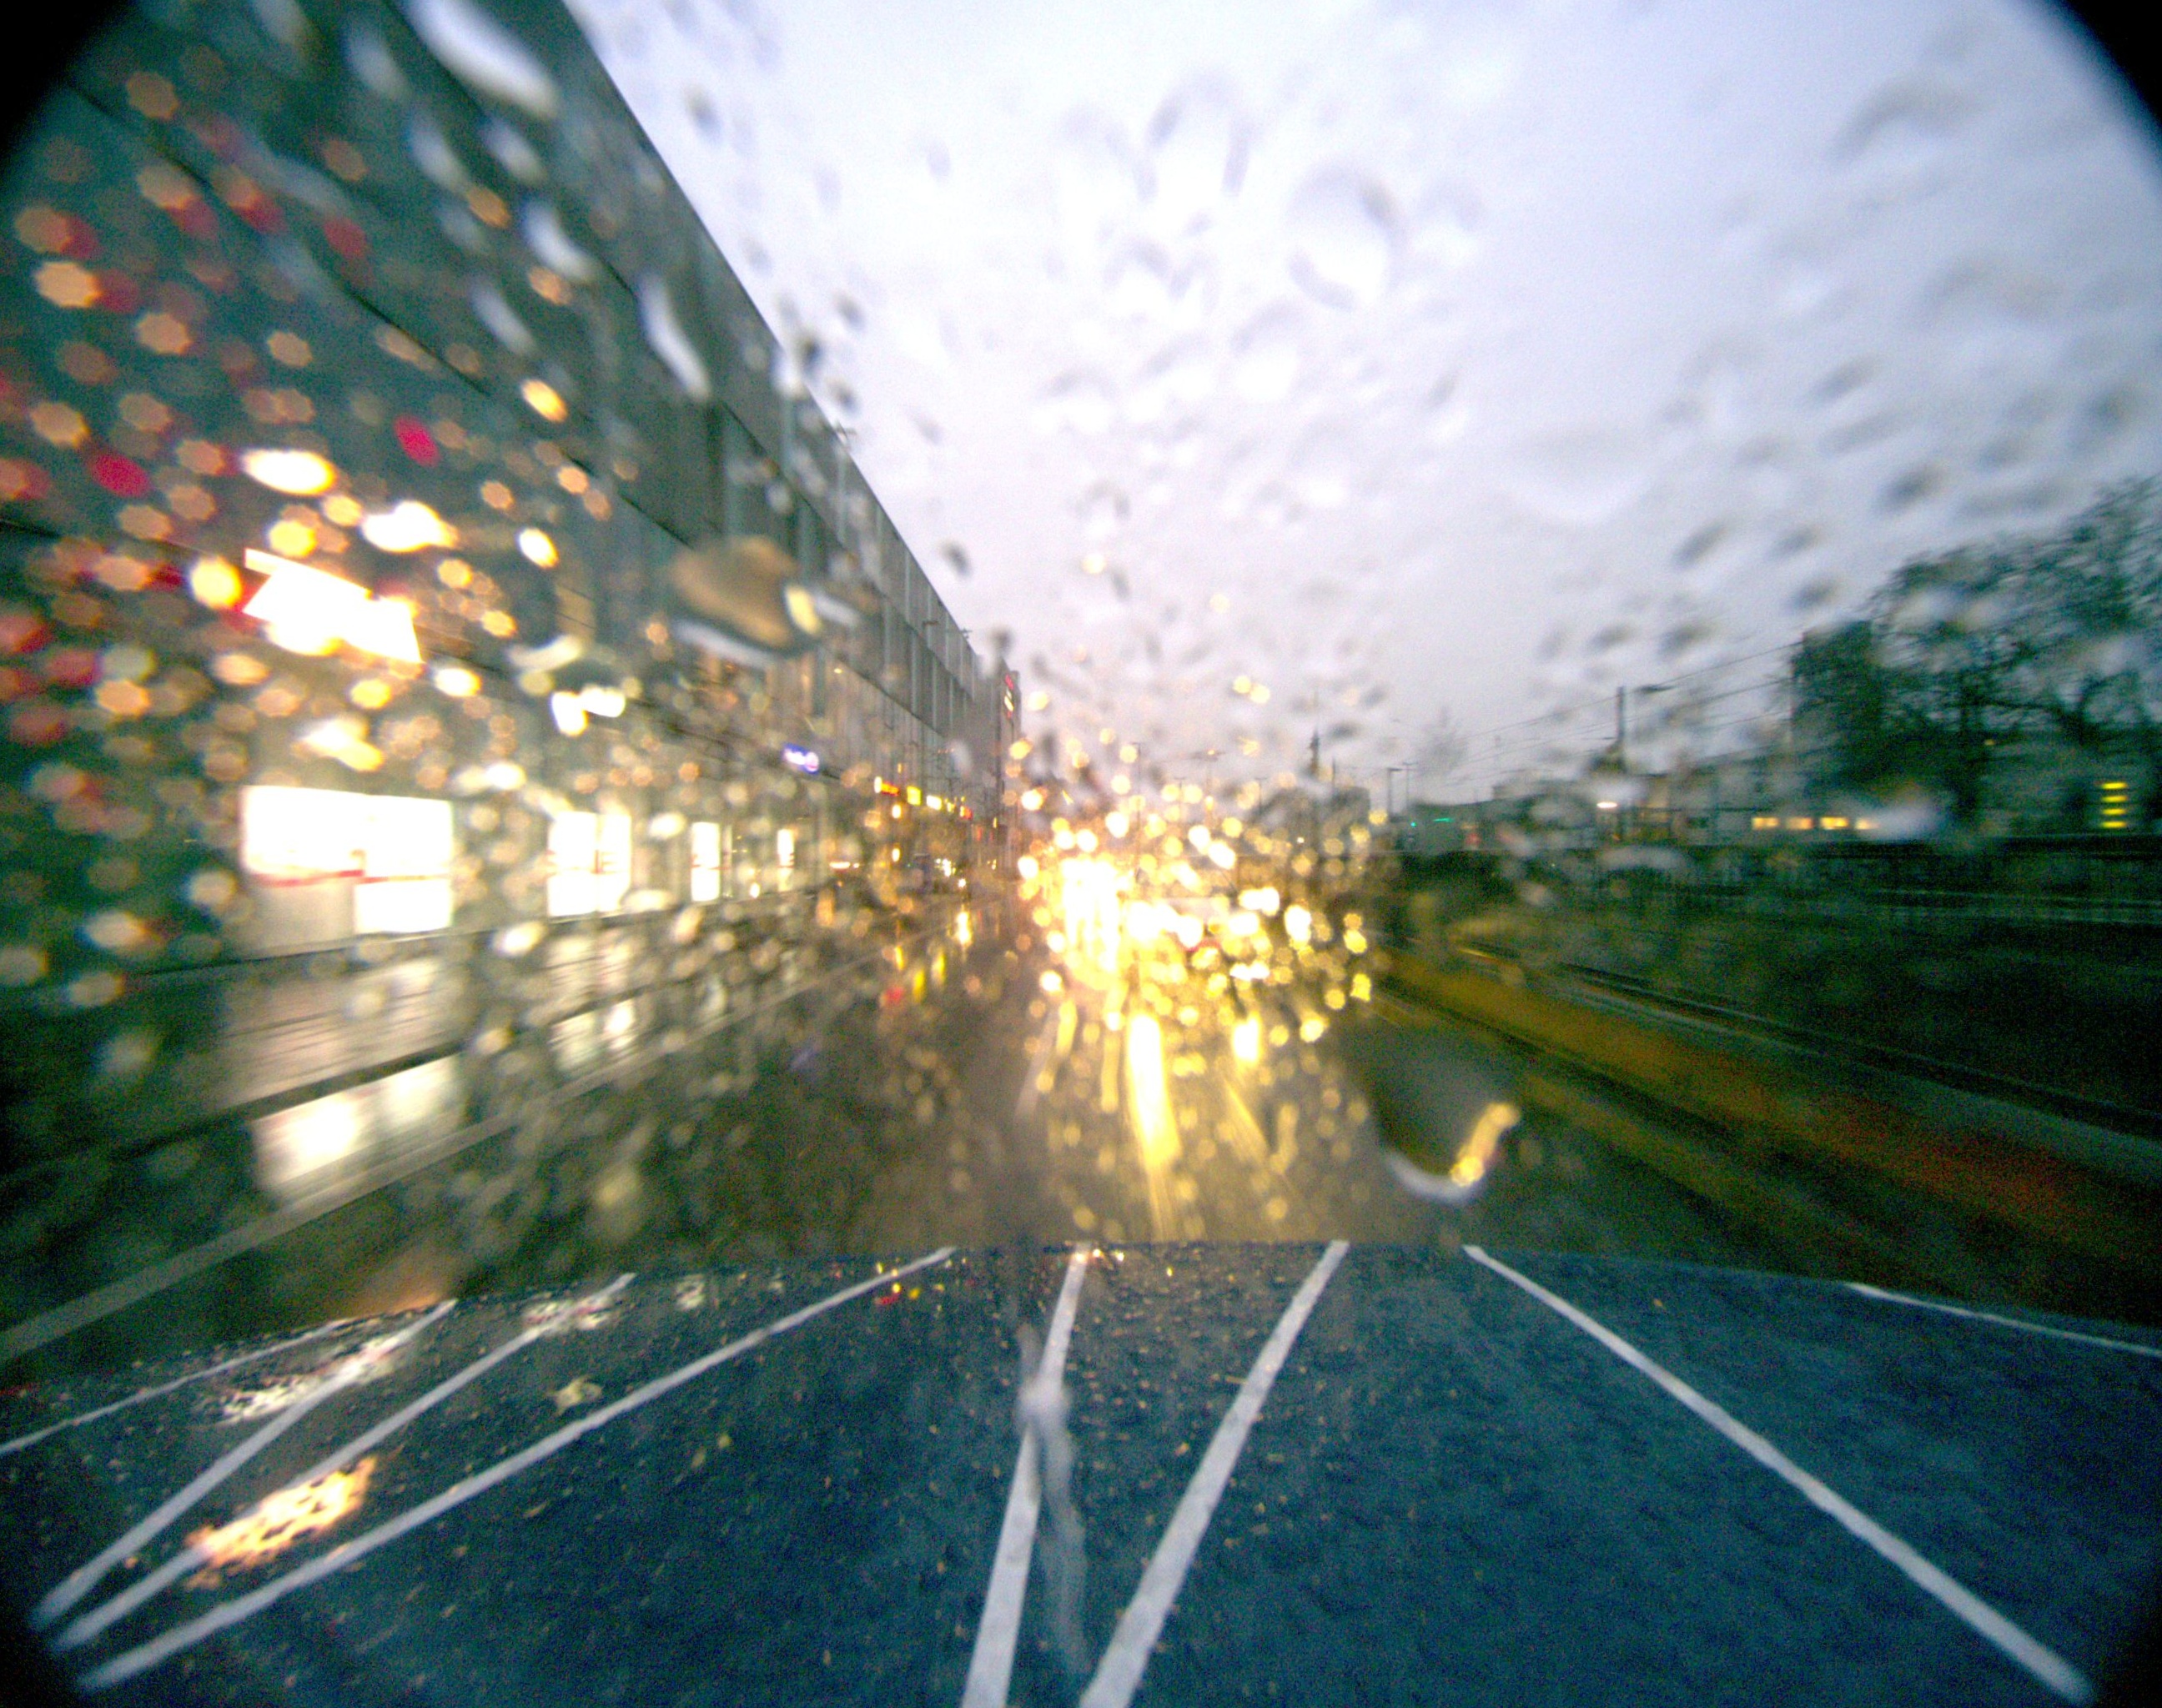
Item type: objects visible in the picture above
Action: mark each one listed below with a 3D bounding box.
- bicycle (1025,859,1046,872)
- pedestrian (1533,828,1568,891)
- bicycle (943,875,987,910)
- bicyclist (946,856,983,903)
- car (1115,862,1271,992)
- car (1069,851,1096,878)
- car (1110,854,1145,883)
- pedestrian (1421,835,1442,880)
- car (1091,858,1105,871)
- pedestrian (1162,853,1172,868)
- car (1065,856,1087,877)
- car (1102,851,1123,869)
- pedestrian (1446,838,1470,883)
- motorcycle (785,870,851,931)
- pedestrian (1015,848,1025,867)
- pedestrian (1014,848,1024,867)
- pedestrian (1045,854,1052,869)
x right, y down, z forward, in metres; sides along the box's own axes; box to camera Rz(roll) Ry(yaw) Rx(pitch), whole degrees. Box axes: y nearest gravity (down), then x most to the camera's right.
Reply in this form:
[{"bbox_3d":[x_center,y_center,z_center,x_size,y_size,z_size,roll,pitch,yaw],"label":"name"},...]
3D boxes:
[{"bbox_3d":[-4.242,1.119,71.237,1.908,1.168,0.667,1,0,1],"label":"bicycle"},{"bbox_3d":[12.822,0.152,20.777,0.585,1.692,0.741,-1,1,13],"label":"pedestrian"},{"bbox_3d":[-3.700,1.212,24.526,0.945,0.993,2.241,-1,0,3],"label":"bicycle"},{"bbox_3d":[-3.740,0.811,24.508,0.945,1.454,1.066,-1,0,3],"label":"bicyclist"},{"bbox_3d":[1.451,0.894,11.050,1.813,1.464,4.140,-1,0,4],"label":"car"},{"bbox_3d":[0.154,0.758,57.178,1.865,1.867,4.001,-1,0,3],"label":"car"},{"bbox_3d":[2.813,0.853,46.149,1.998,1.673,4.001,-1,0,3],"label":"car"},{"bbox_3d":[13.256,0.139,28.741,0.585,1.692,0.741,-1,1,13],"label":"pedestrian"},{"bbox_3d":[2.307,1.374,101.485,1.867,1.652,3.987,-1,0,2],"label":"car"},{"bbox_3d":[9.853,0.750,87.095,0.862,1.704,0.763,-1,1,-25],"label":"pedestrian"},{"bbox_3d":[-0.511,1.256,75.950,1.998,2.002,4.000,-1,0,2],"label":"car"},{"bbox_3d":[3.009,0.513,72.789,1.867,1.652,3.987,-1,0,2],"label":"car"},{"bbox_3d":[13.054,0.219,26.326,0.585,1.541,0.741,-1,1,13],"label":"pedestrian"},{"bbox_3d":[-6.228,1.065,17.956,1.904,1.326,0.597,1,2,42],"label":"motorcycle"},{"bbox_3d":[-7.156,0.406,88.728,0.965,2.149,0.581,0,1,14],"label":"pedestrian"},{"bbox_3d":[-7.201,0.416,88.035,0.960,2.179,0.712,0,1,14],"label":"pedestrian"},{"bbox_3d":[-3.718,0.890,86.653,0.707,1.684,0.723,1,0,-10],"label":"pedestrian"}]
